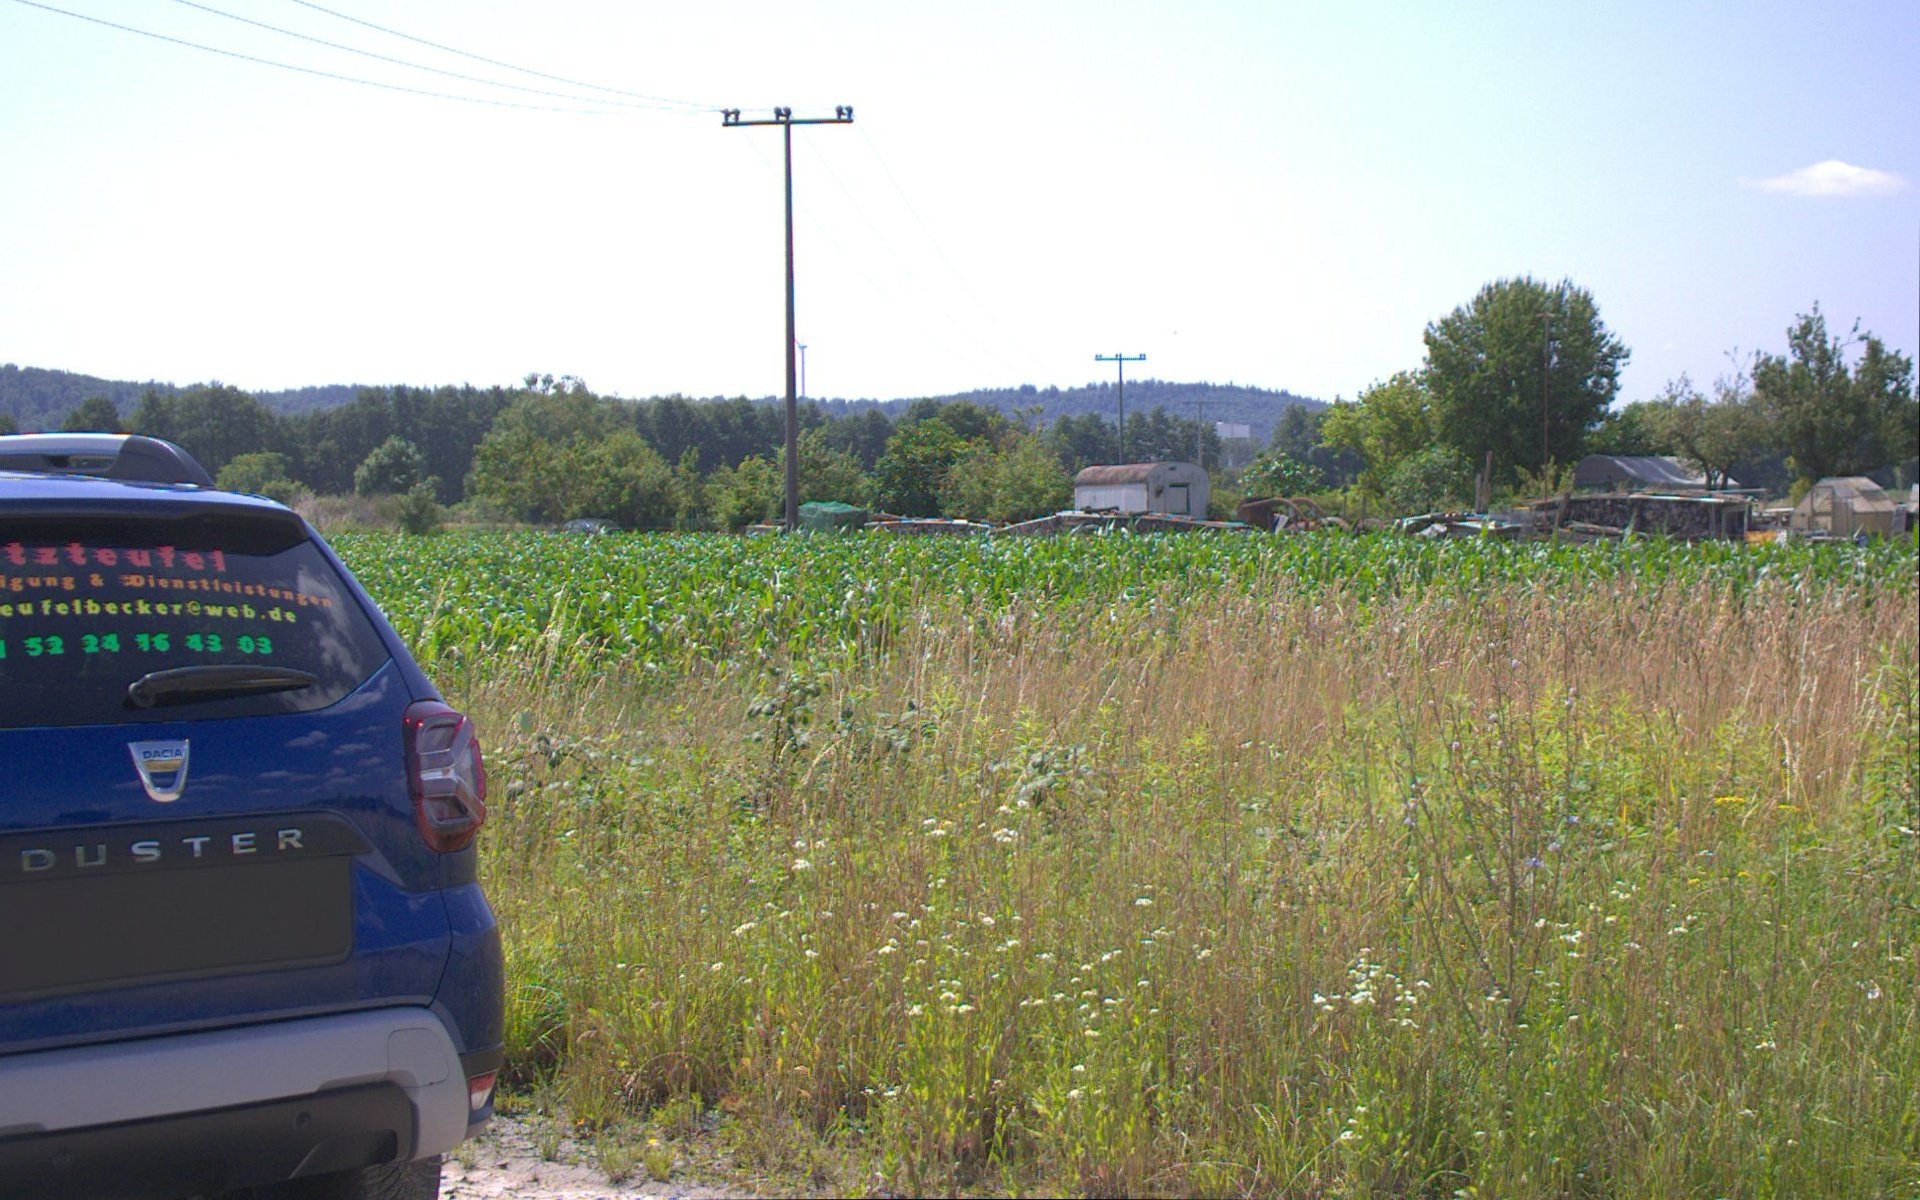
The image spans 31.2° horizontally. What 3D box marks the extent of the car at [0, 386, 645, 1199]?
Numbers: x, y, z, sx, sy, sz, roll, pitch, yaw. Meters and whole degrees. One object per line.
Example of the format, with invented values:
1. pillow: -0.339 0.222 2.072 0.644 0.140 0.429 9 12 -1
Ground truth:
1. car: -2.801 0.505 6.921 4.455 1.655 1.860 0 1 44
